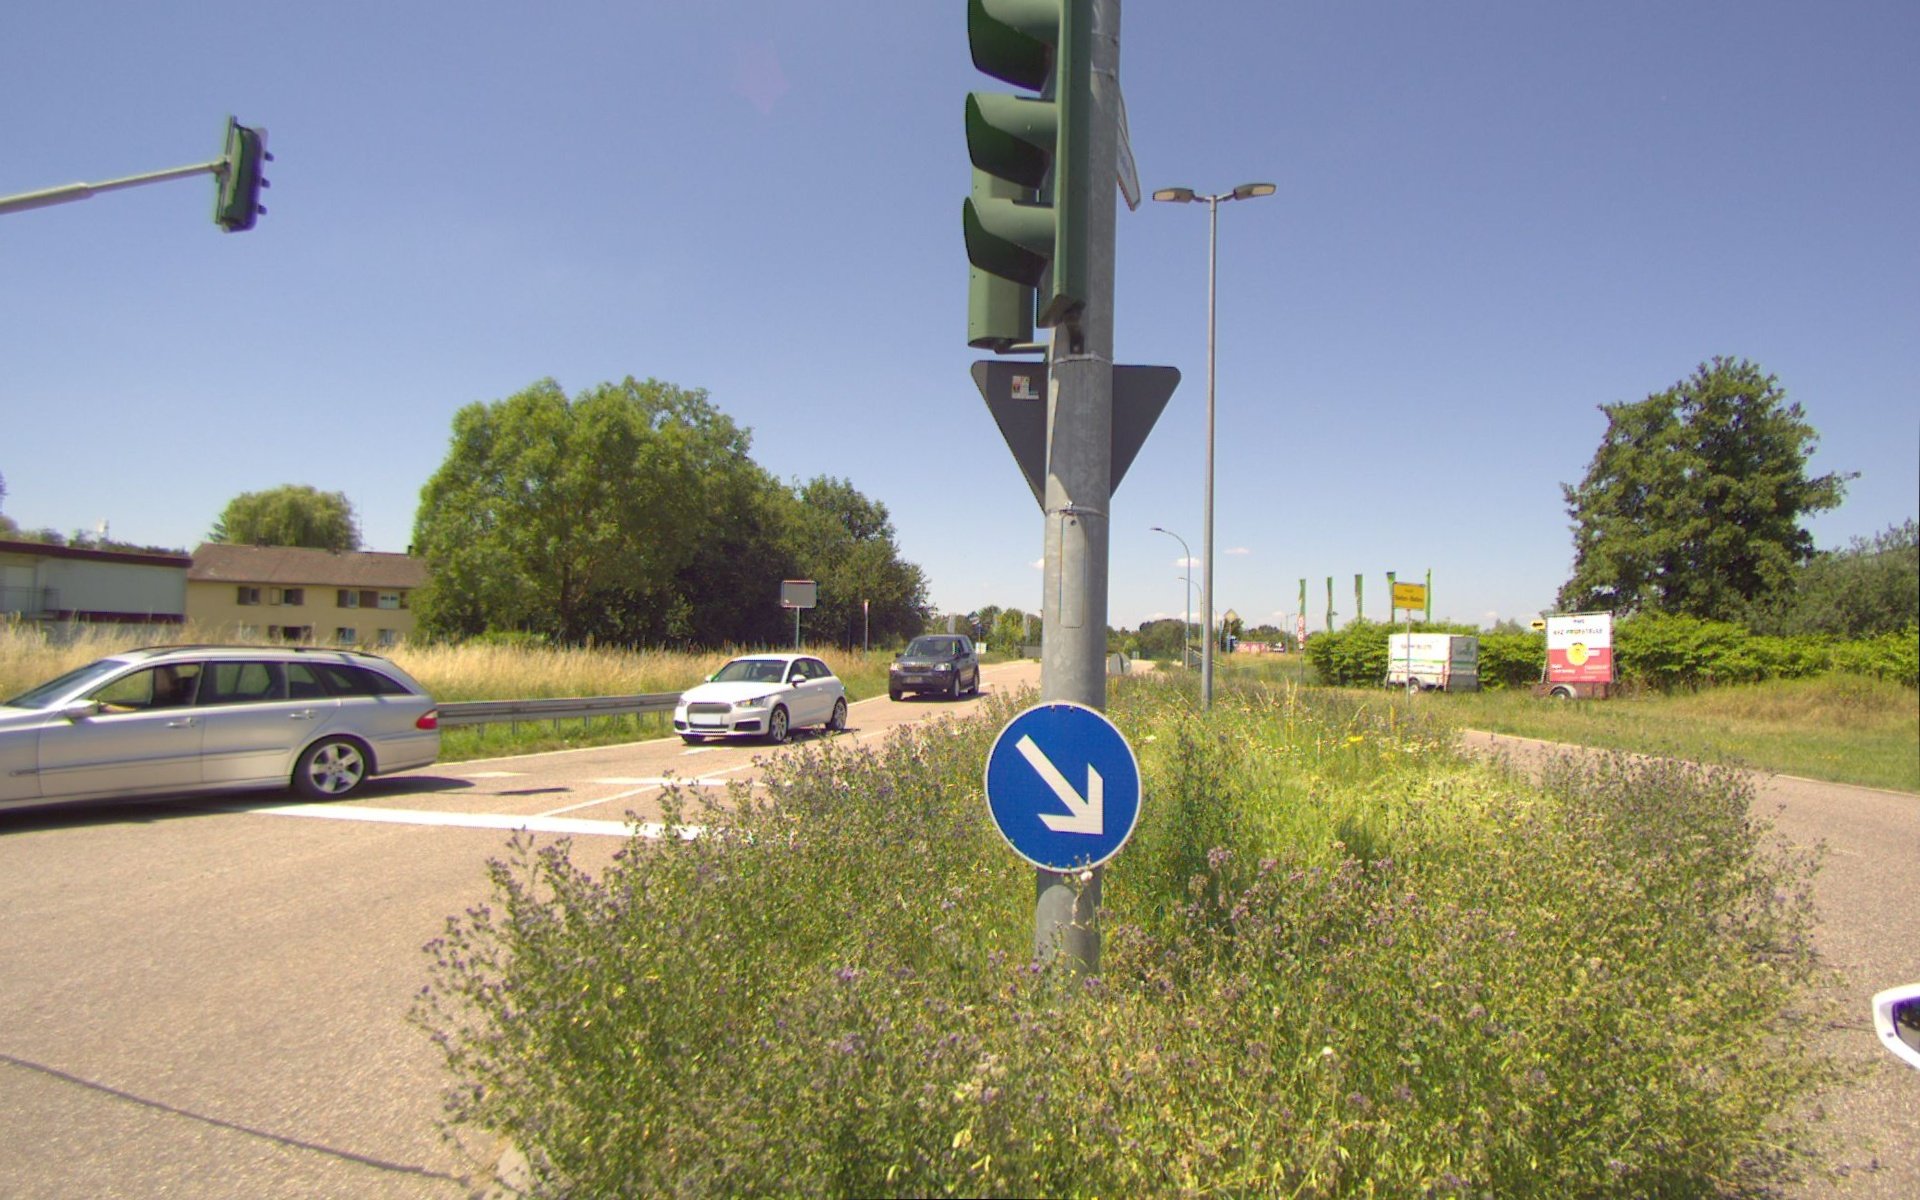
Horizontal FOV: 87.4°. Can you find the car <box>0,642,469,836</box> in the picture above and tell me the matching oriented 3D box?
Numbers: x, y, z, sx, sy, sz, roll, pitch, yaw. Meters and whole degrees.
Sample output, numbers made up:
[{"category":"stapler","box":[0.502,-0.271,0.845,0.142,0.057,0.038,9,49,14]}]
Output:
[{"category":"car","box":[-7.466,1.147,9.300,1.847,1.476,4.953,-1,-3,36]}]

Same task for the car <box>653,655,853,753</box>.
[{"category":"car","box":[-3.378,1.672,17.228,1.735,1.417,3.966,-1,-2,16]}]

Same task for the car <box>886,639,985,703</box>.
[{"category":"car","box":[-0.608,1.925,28.247,1.735,1.646,4.237,0,-2,14]}]

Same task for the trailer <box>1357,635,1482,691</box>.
[{"category":"trailer","box":[15.866,2.148,34.898,1.801,1.814,3.738,2,-2,-23]}]

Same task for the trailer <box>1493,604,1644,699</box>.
[{"category":"trailer","box":[19.122,1.608,31.721,1.801,2.800,3.737,2,-2,-24]}]
